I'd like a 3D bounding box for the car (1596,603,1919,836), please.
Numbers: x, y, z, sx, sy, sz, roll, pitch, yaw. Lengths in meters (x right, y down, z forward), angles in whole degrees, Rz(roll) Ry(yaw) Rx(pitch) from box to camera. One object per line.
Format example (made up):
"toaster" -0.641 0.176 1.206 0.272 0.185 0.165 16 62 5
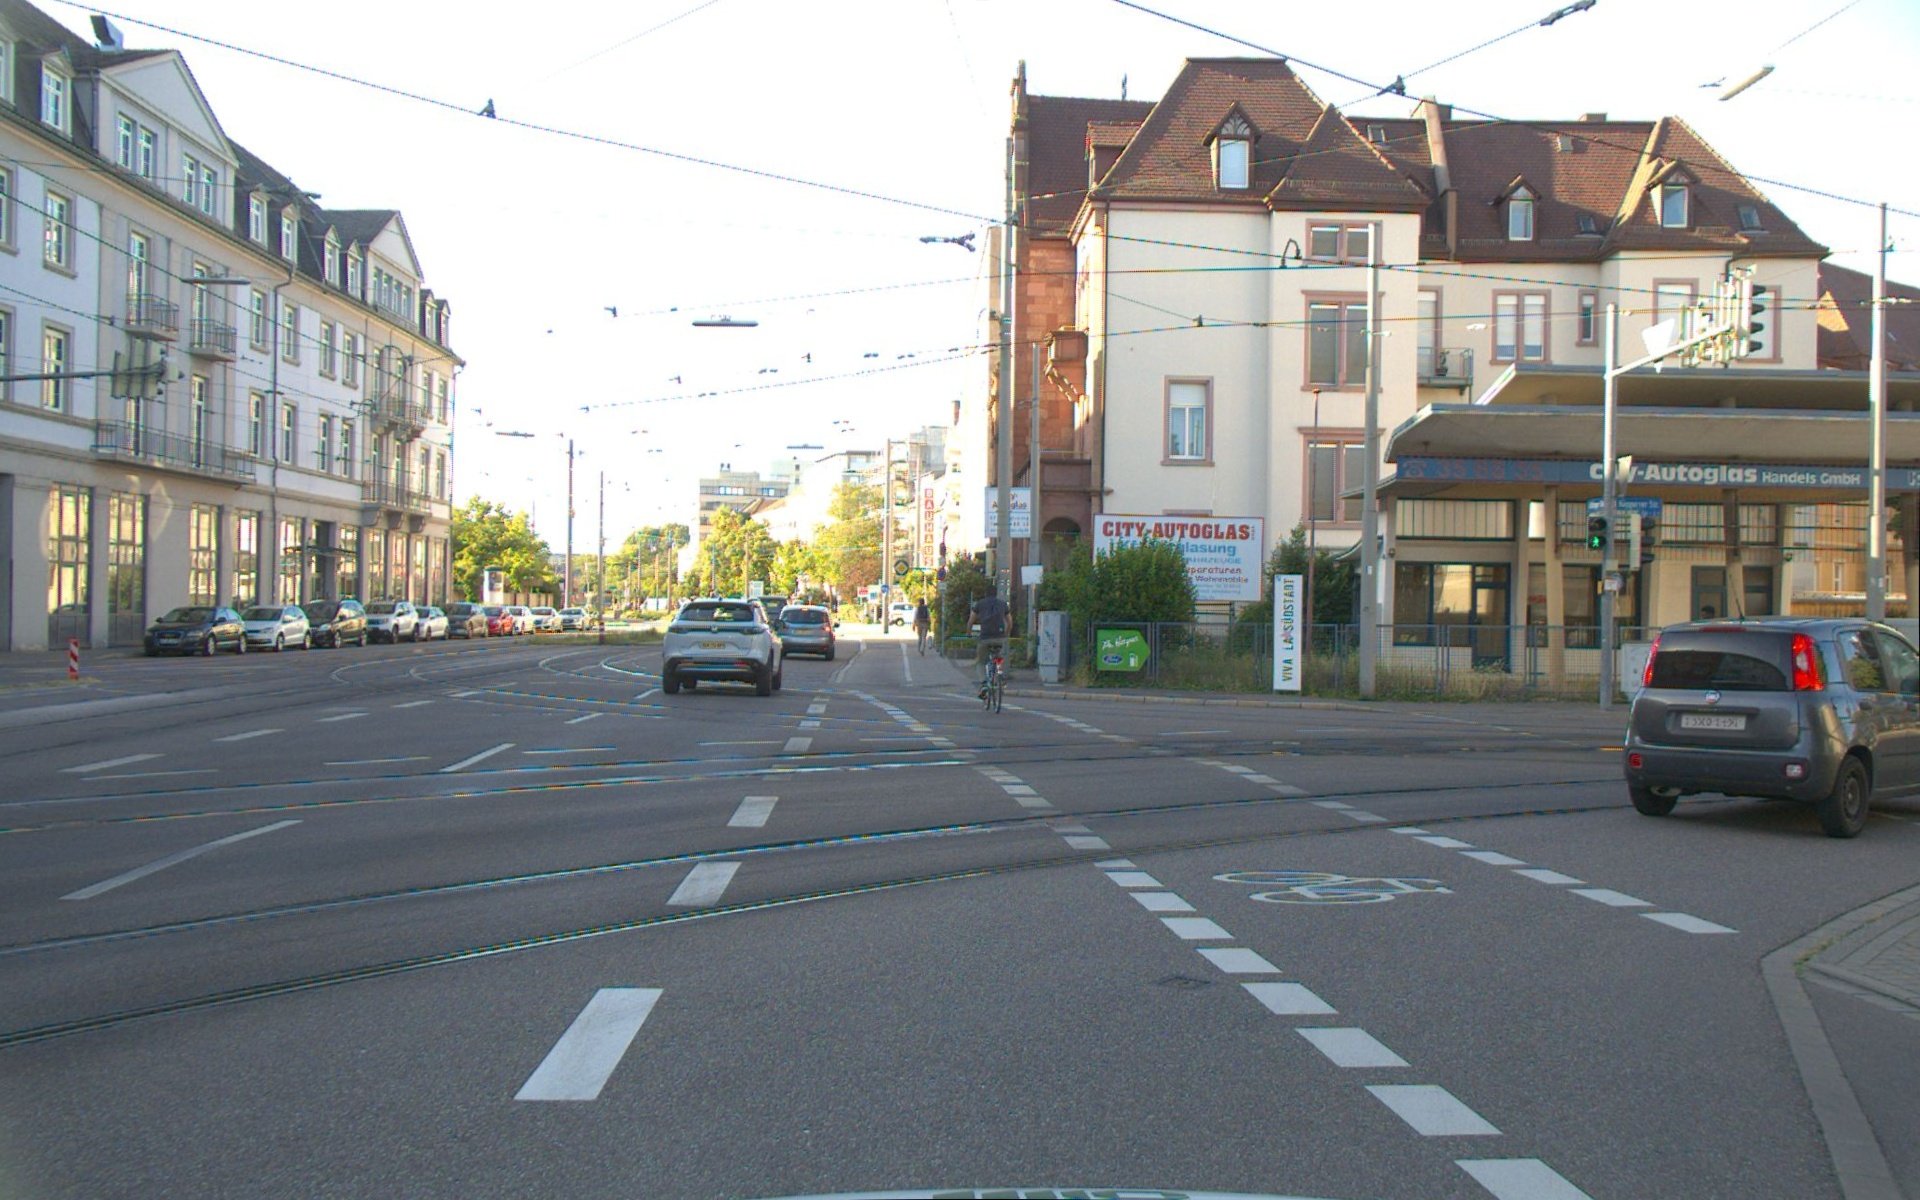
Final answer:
"car" 6.813 0.824 12.991 3.962 1.527 1.712 1 0 -40

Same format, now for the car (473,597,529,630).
"car" -22.452 0.630 81.029 1.684 1.579 3.999 0 0 -2

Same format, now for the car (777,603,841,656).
"car" -4.715 0.899 51.961 1.778 1.610 3.998 0 0 -2

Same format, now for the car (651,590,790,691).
"car" -3.980 0.636 28.083 1.908 1.555 4.087 1 0 -3

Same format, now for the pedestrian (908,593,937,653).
"pedestrian" -1.183 0.721 52.472 0.857 1.856 1.184 1 -1 -1

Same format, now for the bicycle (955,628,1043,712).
"bicycle" 0.537 0.971 23.522 0.758 1.105 1.863 1 0 -15

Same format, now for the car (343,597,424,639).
"car" -22.544 0.673 64.845 1.798 1.579 4.272 0 0 -2

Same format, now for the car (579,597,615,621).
"car" -24.306 0.621 110.854 1.684 1.579 3.999 0 0 -2

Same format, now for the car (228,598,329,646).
"car" -21.843 0.678 53.142 1.684 1.477 3.999 0 0 -2

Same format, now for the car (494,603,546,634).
"car" -22.780 0.943 85.760 1.684 1.579 3.998 0 0 -2

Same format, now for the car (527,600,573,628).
"car" -23.289 0.785 94.012 1.684 1.579 3.999 1 0 -2

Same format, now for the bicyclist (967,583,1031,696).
"bicyclist" 0.544 0.552 23.423 0.817 1.552 0.993 1 -1 -2

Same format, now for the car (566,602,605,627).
"car" -23.731 0.890 104.858 1.684 1.579 3.999 0 0 -2

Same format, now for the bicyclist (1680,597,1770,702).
"bicyclist" 11.640 0.740 25.195 1.025 1.553 0.880 0 -1 6

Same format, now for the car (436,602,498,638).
"car" -22.338 0.887 75.070 1.684 1.579 3.999 0 0 -2

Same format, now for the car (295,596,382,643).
"car" -21.793 0.668 58.097 1.684 1.579 3.855 0 0 -2

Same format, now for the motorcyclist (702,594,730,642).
"motorcyclist" -7.504 0.535 50.803 0.762 1.448 0.890 1 0 -4

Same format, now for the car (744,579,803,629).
"car" -7.999 0.171 71.338 2.128 2.044 4.806 0 0 -2

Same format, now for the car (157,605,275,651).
"car" -21.319 0.767 47.574 1.684 1.254 3.999 0 0 -2

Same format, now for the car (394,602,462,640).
"car" -22.485 0.865 69.987 1.684 1.579 3.999 0 0 -2

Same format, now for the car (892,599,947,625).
"car" -3.270 0.951 134.316 4.182 2.049 1.995 1 0 -11
